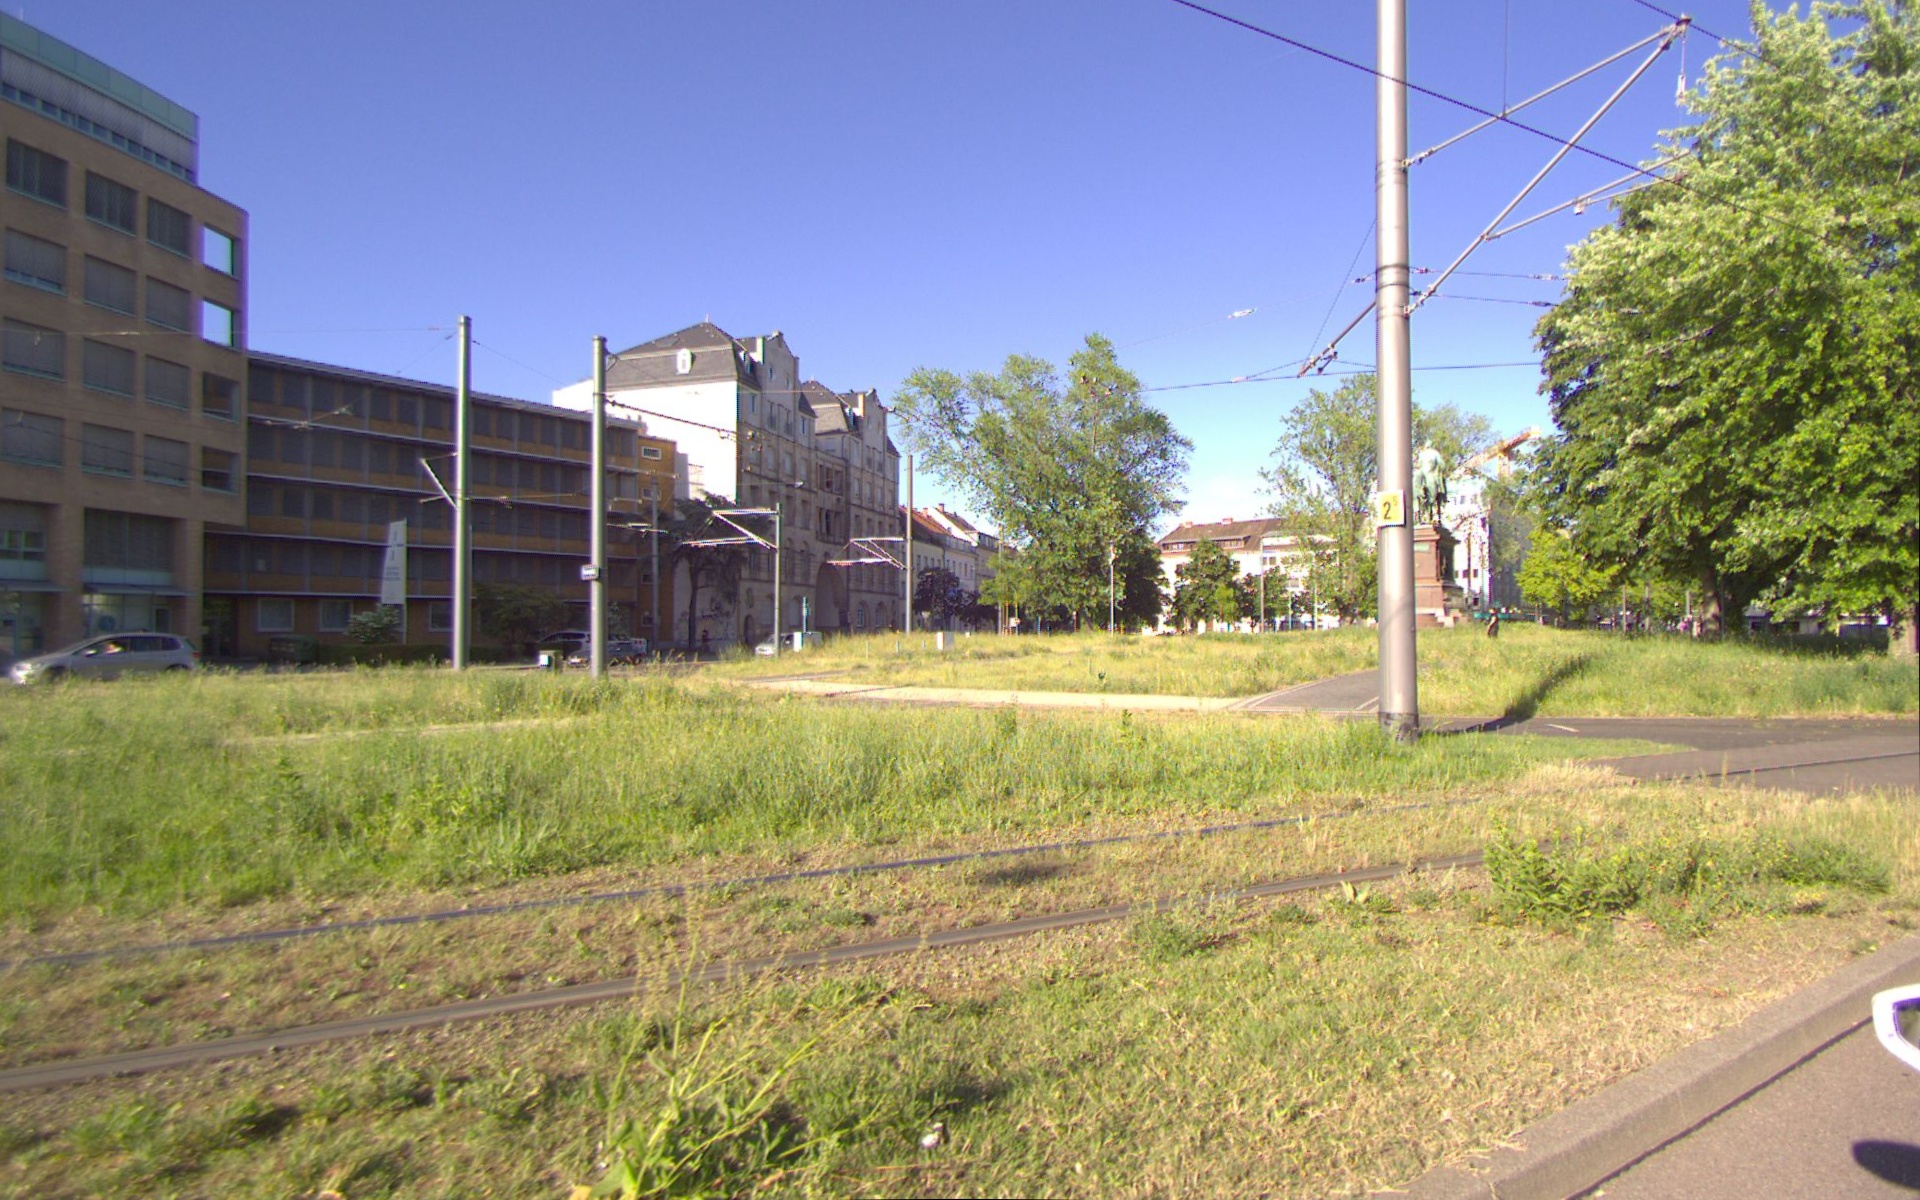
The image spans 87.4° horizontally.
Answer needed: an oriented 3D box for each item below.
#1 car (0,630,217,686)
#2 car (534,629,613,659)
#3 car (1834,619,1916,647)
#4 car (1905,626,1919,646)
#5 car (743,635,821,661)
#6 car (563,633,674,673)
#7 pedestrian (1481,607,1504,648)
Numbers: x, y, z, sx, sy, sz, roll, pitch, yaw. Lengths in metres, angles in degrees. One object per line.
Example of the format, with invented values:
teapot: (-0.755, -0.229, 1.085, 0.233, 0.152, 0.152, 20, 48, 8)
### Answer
car: (-24.865, 1.654, 29.500, 1.967, 1.446, 4.497, 1, -1, 35)
car: (-23.247, 2.629, 60.426, 3.919, 1.602, 2.001, 2, -1, 10)
car: (81.465, 2.920, 89.524, 5.274, 2.344, 1.990, 1, -1, 41)
car: (88.384, 3.323, 90.411, 4.802, 1.828, 1.899, 1, -1, 42)
car: (-10.423, 2.801, 59.243, 1.964, 1.372, 4.759, 0, 0, 29)
car: (-15.080, 2.370, 44.560, 1.967, 1.532, 4.271, 0, -4, 35)
pedestrian: (21.618, 1.124, 40.792, 0.661, 1.637, 0.555, 1, -1, 12)
